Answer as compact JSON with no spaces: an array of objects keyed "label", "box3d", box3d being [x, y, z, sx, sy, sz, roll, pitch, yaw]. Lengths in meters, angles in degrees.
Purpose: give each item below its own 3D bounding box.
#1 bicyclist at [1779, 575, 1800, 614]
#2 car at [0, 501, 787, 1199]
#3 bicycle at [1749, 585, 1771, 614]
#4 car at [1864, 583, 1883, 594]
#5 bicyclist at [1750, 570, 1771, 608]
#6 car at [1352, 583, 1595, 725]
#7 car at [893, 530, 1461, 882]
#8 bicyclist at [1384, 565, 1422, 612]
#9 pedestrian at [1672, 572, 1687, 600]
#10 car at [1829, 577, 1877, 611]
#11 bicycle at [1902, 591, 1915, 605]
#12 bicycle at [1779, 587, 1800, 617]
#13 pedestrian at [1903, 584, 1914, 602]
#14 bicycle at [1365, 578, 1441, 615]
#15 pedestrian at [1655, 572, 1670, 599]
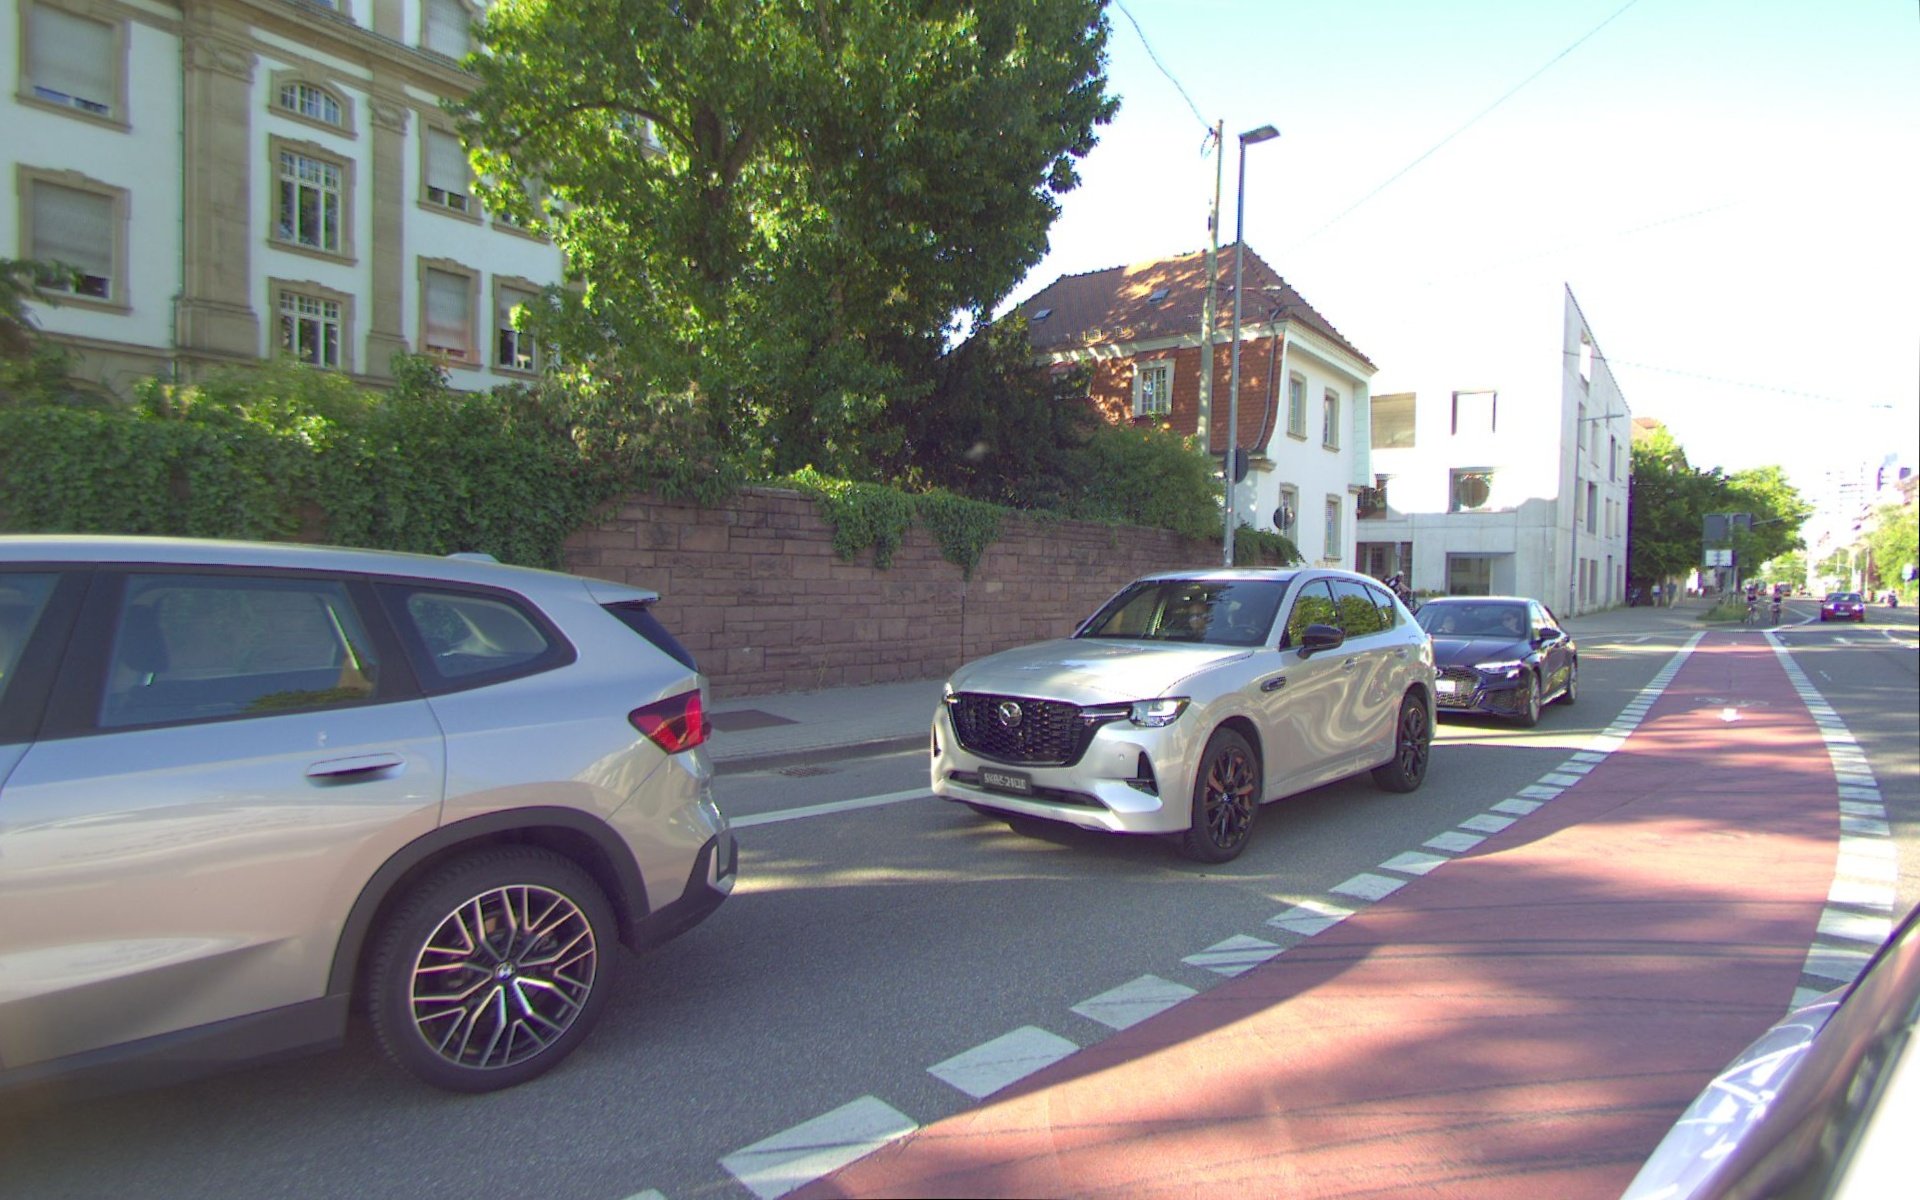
[{"label":"bicyclist","box3d":[36.812,-0.244,44.900,0.673,1.667,1.014,2,2,40]},{"label":"car","box3d":[-2.828,0.577,2.958,4.248,1.614,1.792,0,0,-36]},{"label":"bicycle","box3d":[36.677,-0.045,46.396,0.673,1.265,2.421,2,2,40]},{"label":"car","box3d":[132.492,-1.658,146.792,1.640,1.580,3.602,0,0,36]},{"label":"bicyclist","box3d":[36.629,-0.505,46.315,0.673,1.667,1.014,2,2,40]},{"label":"car","box3d":[6.416,0.526,12.439,1.782,1.451,3.941,0,1,41]},{"label":"car","box3d":[1.814,0.491,7.229,1.940,1.713,4.460,0,1,44]},{"label":"bicyclist","box3d":[16.030,-0.438,36.657,1.009,1.667,0.676,1,1,-1]},{"label":"pedestrian","box3d":[44.319,-0.854,62.346,0.673,1.668,0.806,1,1,40]},{"label":"car","box3d":[44.180,-0.303,50.042,1.644,1.580,3.593,0,0,44]},{"label":"bicycle","box3d":[88.522,-0.231,94.460,2.414,1.266,0.675,0,1,-42]},{"label":"bicycle","box3d":[36.796,0.076,44.896,0.673,1.265,2.421,2,2,40]},{"label":"pedestrian","box3d":[88.528,-0.681,94.453,0.803,1.668,0.675,0,1,-41]},{"label":"bicycle","box3d":[16.046,-0.144,36.660,2.410,1.266,0.676,1,1,0]},{"label":"pedestrian","box3d":[43.743,-0.889,63.018,0.673,1.668,0.806,1,1,40]}]
